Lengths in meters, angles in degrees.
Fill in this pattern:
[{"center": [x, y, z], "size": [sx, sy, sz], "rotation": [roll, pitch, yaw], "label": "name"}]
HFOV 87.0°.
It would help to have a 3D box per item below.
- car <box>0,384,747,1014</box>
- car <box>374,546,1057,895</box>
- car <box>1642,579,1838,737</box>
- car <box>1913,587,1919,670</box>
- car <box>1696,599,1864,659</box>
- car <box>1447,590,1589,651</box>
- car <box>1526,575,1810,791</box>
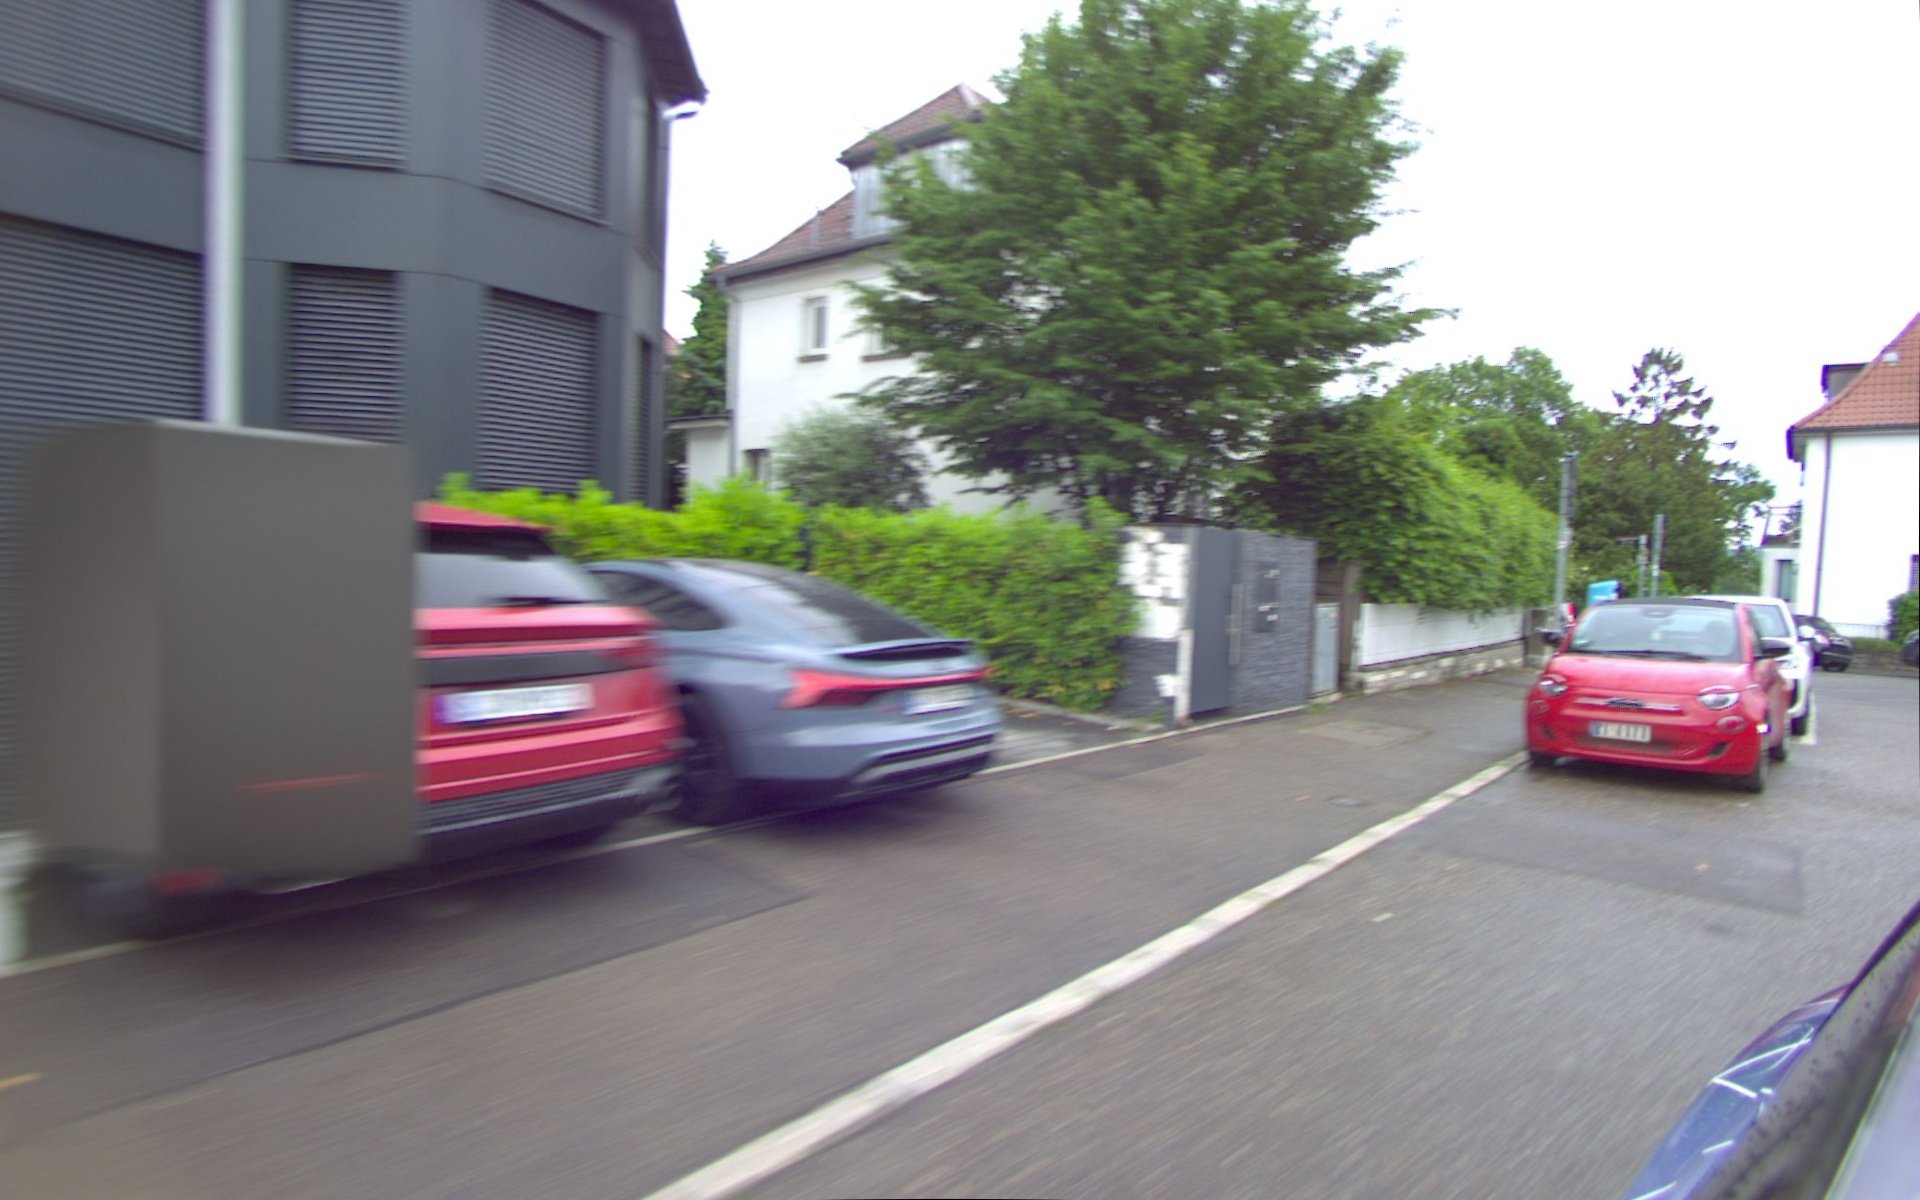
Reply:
[{"center": [-3.177, 0.142, 4.843], "size": [4.063, 1.771, 1.974], "rotation": [5, 3, 36], "label": "car"}, {"center": [-1.828, 0.481, 6.791], "size": [4.537, 1.433, 1.974], "rotation": [5, 3, 36], "label": "car"}, {"center": [10.294, 0.619, 13.257], "size": [1.742, 1.693, 4.579], "rotation": [2, 1, 40], "label": "car"}, {"center": [24.627, 0.804, 22.250], "size": [1.901, 1.971, 4.933], "rotation": [0, 3, -26], "label": "car"}, {"center": [22.091, 0.753, 27.371], "size": [1.297, 1.460, 3.269], "rotation": [6, -3, -33], "label": "car"}, {"center": [18.988, 0.655, 34.523], "size": [3.983, 1.883, 1.745], "rotation": [2, 1, 41], "label": "car"}, {"center": [6.534, 0.598, 9.198], "size": [1.611, 1.556, 3.485], "rotation": [2, 1, 43], "label": "car"}]
